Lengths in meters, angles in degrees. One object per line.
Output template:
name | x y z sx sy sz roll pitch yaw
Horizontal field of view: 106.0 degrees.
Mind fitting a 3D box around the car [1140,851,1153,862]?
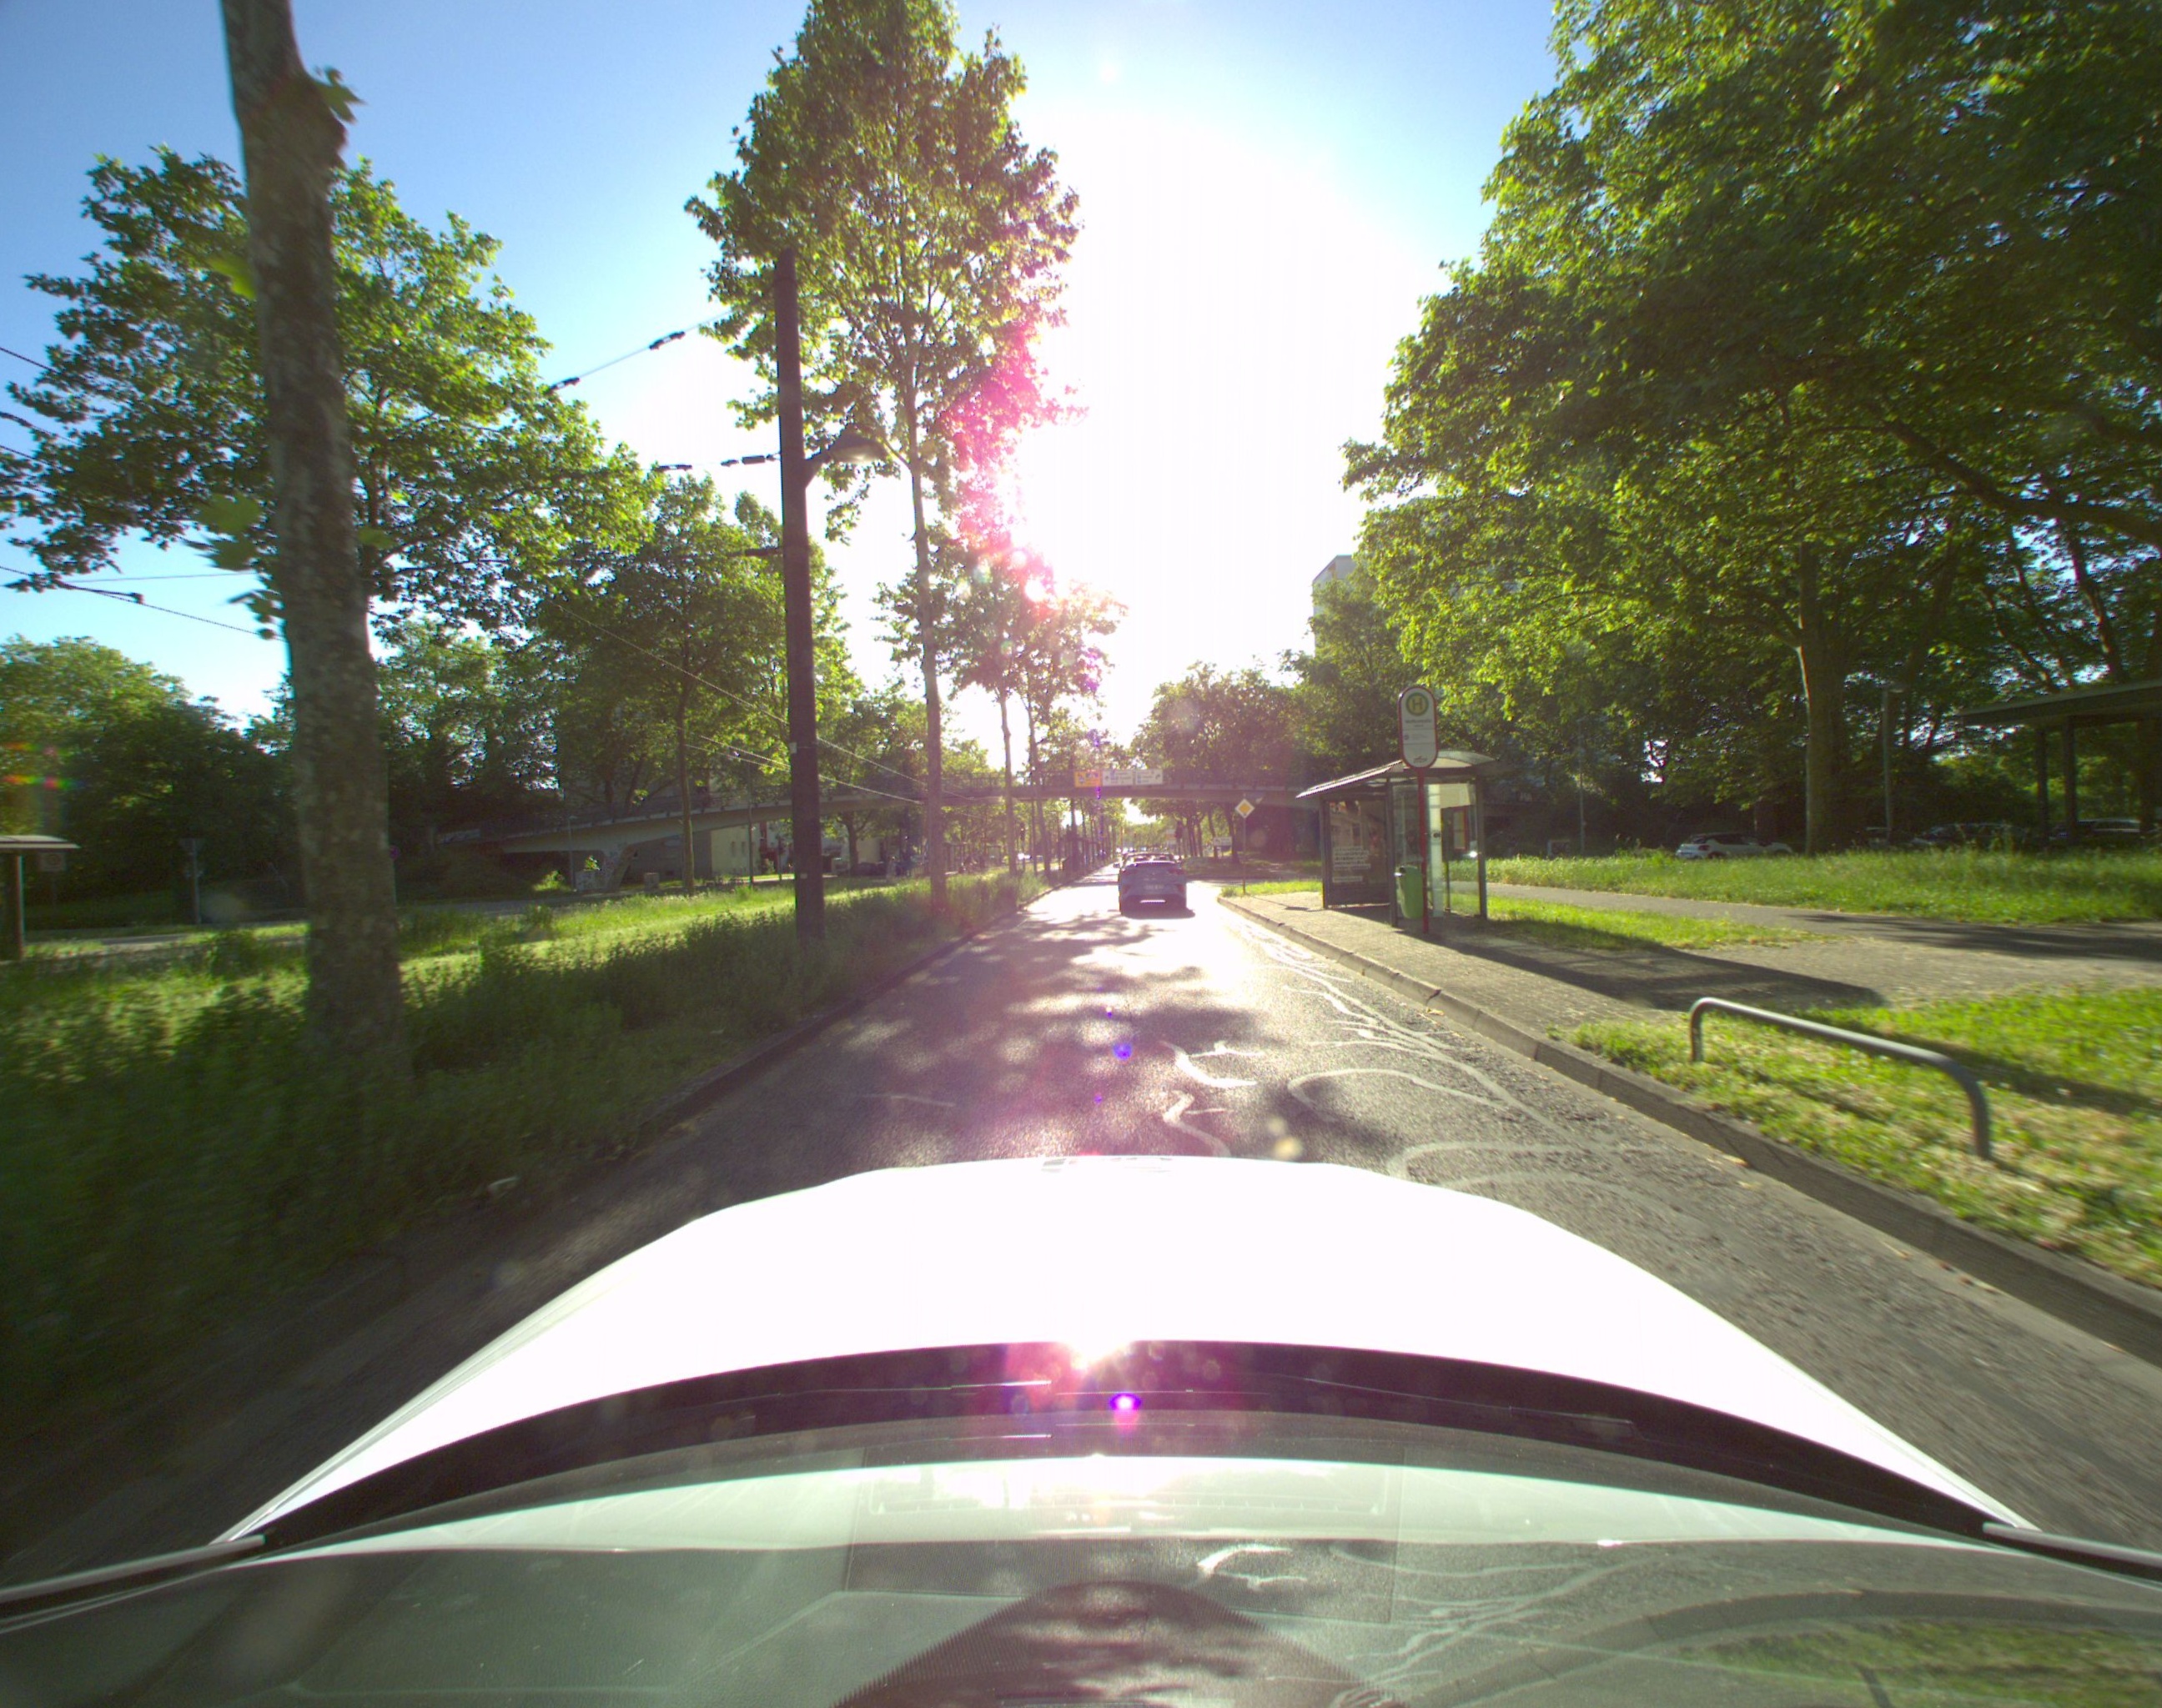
car | 9.270 0.306 115.090 1.632 1.494 3.506 -1 1 3

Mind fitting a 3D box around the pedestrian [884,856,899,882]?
pedestrian | -12.496 0.961 53.726 0.723 1.674 1.048 -1 -1 0

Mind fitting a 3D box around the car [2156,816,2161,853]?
car | 46.590 -0.825 33.235 3.571 1.495 1.583 -1 2 -3

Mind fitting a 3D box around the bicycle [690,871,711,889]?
bicycle | -23.490 1.587 50.319 0.432 1.009 1.688 -1 0 3

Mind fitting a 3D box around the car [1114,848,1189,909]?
car | 1.857 0.612 22.539 1.769 1.483 4.101 -2 0 1

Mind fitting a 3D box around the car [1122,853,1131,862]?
car | 8.454 0.722 152.274 1.703 1.603 3.352 -1 0 3

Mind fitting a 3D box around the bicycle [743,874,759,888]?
bicycle | -20.384 1.667 50.265 0.432 0.778 1.175 -1 0 3

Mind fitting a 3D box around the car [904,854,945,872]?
car | -19.039 1.113 98.866 4.519 2.063 1.879 -1 1 -36

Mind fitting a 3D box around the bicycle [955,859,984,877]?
bicycle | -7.275 0.895 53.370 1.827 1.147 0.814 0 1 -4

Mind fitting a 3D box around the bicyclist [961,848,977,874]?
bicyclist | -7.327 0.459 53.361 0.951 1.632 0.814 0 0 -4

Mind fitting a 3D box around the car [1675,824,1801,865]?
car | 26.205 -0.388 32.553 3.717 1.495 1.709 -1 2 0

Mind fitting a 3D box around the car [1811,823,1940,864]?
car | 31.800 -0.452 32.647 3.971 1.495 1.664 -2 2 -9

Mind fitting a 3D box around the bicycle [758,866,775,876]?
bicycle | -32.582 1.764 84.451 0.693 0.928 2.595 -1 1 0

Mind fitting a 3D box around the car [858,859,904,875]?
car | -20.340 1.301 82.809 4.218 1.428 1.682 -1 1 -36

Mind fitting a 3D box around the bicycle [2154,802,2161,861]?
bicycle | 23.274 -0.485 16.547 0.573 1.253 1.806 -1 -1 1

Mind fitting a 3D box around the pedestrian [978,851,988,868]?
pedestrian | -9.074 0.531 75.400 0.676 1.514 0.648 -4 -1 24

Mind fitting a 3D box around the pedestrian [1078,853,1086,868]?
pedestrian | 0.080 0.538 70.418 0.732 1.252 0.587 0 -1 -3

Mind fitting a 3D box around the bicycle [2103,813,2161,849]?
bicycle | 31.818 -0.717 23.993 0.503 0.960 2.193 -3 -3 -3

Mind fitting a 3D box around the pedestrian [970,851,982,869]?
pedestrian | -9.855 0.561 76.505 0.706 1.634 0.736 -3 -1 38

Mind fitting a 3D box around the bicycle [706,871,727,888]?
bicycle | -23.020 1.589 51.435 0.432 1.009 1.688 -1 0 3

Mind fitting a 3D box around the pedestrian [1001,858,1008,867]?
pedestrian | -9.337 1.025 99.351 0.691 1.127 0.663 -5 -1 4

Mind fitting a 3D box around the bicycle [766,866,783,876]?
bicycle | -31.747 1.753 84.411 0.693 0.928 2.595 -1 1 0

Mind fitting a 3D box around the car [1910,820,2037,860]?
car | 36.039 -0.596 32.929 3.573 1.495 1.621 -2 2 -5

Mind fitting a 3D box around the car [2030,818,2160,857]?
car | 41.381 -0.692 33.277 3.572 1.495 1.625 -2 2 -5

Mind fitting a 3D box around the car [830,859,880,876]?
car | -21.111 1.262 76.125 4.218 1.428 1.682 -1 1 -36

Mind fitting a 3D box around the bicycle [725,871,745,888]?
bicycle | -21.616 1.566 50.895 0.432 1.009 1.688 -1 0 3

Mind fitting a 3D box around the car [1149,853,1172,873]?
car | 7.557 0.868 77.521 1.973 1.792 4.618 -2 -1 3

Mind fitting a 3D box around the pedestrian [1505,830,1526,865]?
pedestrian | 22.624 -0.361 42.427 0.657 1.777 0.738 -2 1 -6

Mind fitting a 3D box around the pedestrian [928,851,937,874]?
pedestrian | -11.491 0.642 63.028 0.506 1.770 0.478 0 -1 -38
